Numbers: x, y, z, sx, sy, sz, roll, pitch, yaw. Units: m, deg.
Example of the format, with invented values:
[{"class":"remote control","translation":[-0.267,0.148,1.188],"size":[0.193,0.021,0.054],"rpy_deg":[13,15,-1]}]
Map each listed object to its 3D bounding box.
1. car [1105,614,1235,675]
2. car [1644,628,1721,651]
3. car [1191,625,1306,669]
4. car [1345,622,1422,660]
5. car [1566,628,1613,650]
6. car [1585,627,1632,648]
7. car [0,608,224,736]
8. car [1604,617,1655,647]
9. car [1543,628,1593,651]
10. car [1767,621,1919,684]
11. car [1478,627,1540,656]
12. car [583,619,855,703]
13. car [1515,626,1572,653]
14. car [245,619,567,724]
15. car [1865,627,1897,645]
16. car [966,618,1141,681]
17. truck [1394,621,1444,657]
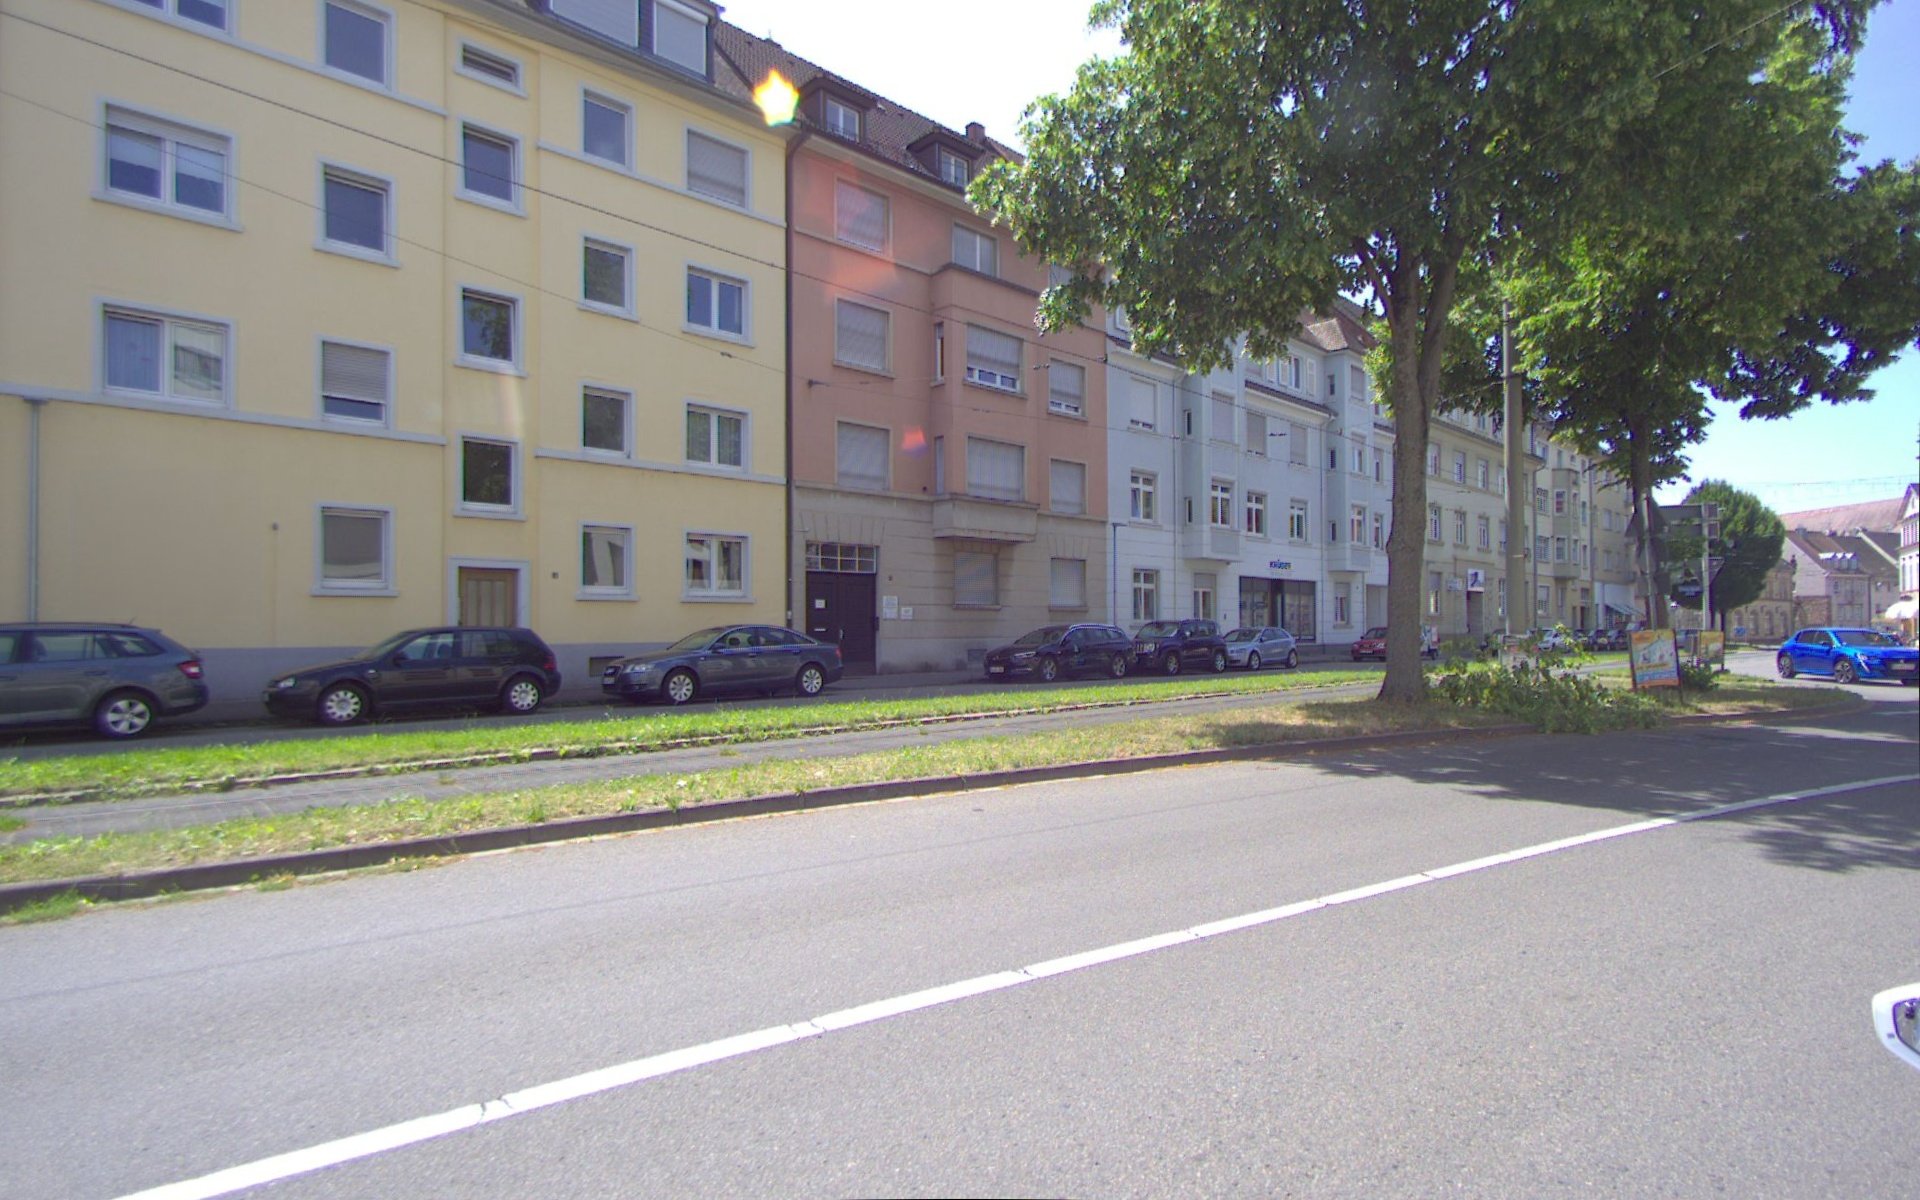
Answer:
[{"class":"car","translation":[6.395,1.319,30.298],"size":[4.115,1.707,1.819],"rpy_deg":[1,-4,-44]},{"class":"car","translation":[50.873,2.798,70.749],"size":[4.158,1.524,1.993],"rpy_deg":[-4,-4,43]},{"class":"car","translation":[9.670,1.556,33.518],"size":[4.221,1.374,1.790],"rpy_deg":[1,-4,-44]},{"class":"car","translation":[17.262,1.660,40.896],"size":[3.601,1.470,1.556],"rpy_deg":[1,-4,-44]},{"class":"car","translation":[38.777,2.383,61.846],"size":[3.562,1.294,1.587],"rpy_deg":[1,-4,-44]},{"class":"car","translation":[41.884,2.413,64.827],"size":[4.235,1.294,1.626],"rpy_deg":[1,-4,-44]},{"class":"car","translation":[-12.070,0.899,12.634],"size":[1.908,1.524,4.299],"rpy_deg":[-3,-3,44]},{"class":"car","translation":[45.535,2.156,68.255],"size":[4.739,1.936,1.836],"rpy_deg":[1,-4,-44]},{"class":"car","translation":[35.464,2.292,58.577],"size":[3.266,1.294,1.670],"rpy_deg":[1,-4,-44]},{"class":"car","translation":[23.879,1.349,27.116],"size":[1.779,1.512,4.002],"rpy_deg":[1,0,15]},{"class":"car","translation":[28.058,2.122,51.317],"size":[3.831,1.378,1.670],"rpy_deg":[1,-4,-44]},{"class":"car","translation":[-4.560,1.129,19.482],"size":[4.828,1.416,1.910],"rpy_deg":[1,-4,-43]},{"class":"car","translation":[32.061,2.144,55.139],"size":[3.831,1.408,1.670],"rpy_deg":[1,-4,-44]},{"class":"car","translation":[-8.554,1.045,15.732],"size":[4.113,1.418,1.814],"rpy_deg":[1,-3,-44]},{"class":"car","translation":[80.234,3.112,87.510],"size":[1.838,1.505,3.981],"rpy_deg":[-1,-2,40]},{"class":"car","translation":[2.546,1.283,26.453],"size":[4.830,1.510,1.909],"rpy_deg":[1,-4,-44]},{"class":"truck","translation":[20.093,1.714,43.965],"size":[1.115,1.514,2.578],"rpy_deg":[-4,-4,45]}]
